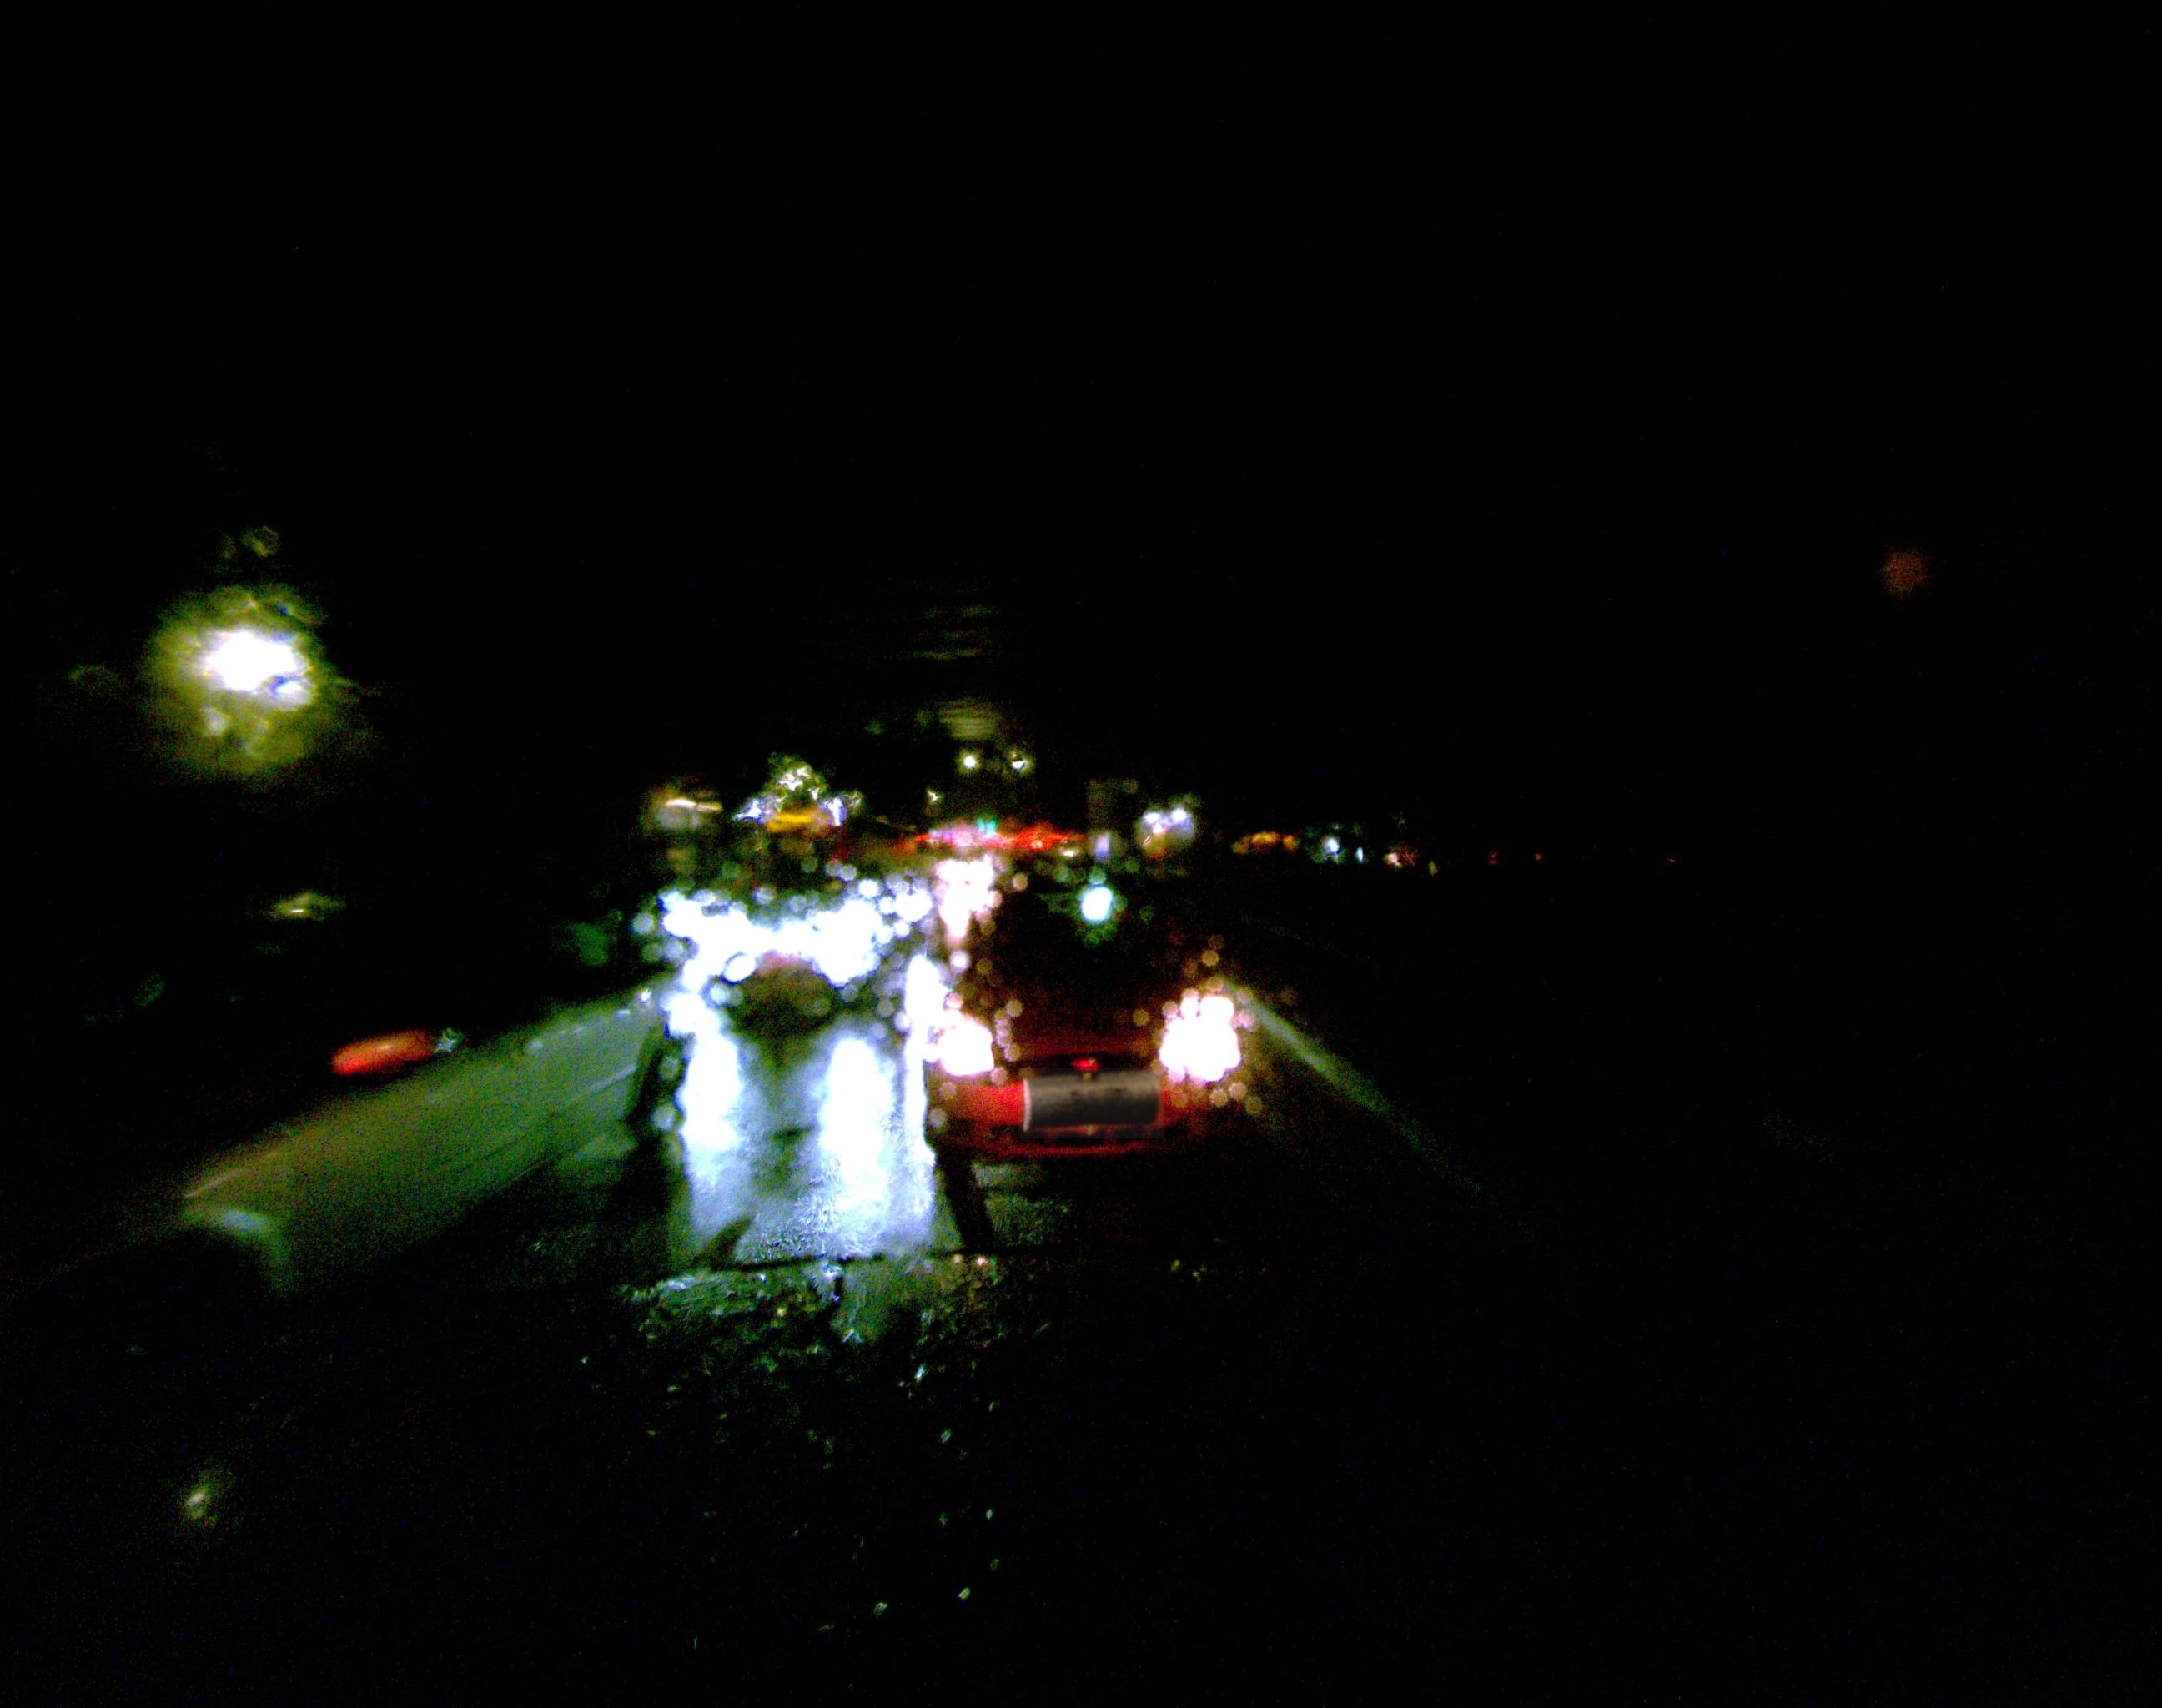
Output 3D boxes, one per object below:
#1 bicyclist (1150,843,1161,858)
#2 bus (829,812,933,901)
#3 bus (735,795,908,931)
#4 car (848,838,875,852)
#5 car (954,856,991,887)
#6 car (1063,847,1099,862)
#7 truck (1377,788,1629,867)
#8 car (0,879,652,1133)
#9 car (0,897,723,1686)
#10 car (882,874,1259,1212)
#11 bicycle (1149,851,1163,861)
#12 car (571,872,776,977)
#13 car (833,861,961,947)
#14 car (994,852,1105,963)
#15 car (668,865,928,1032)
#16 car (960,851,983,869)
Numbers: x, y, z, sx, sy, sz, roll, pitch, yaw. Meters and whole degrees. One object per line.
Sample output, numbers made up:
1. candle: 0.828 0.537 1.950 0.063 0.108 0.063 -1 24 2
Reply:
1. bicyclist: 6.857 -0.314 69.890 0.630 1.427 1.187 -1 1 -12
2. bus: -8.336 0.034 32.986 2.742 3.219 9.693 -2 1 -5
3. bus: -7.411 0.153 23.371 2.742 3.258 9.693 -2 1 -5
4. car: -23.729 -0.941 81.948 1.712 1.382 3.990 -2 1 -32
5. car: -5.622 0.862 39.639 1.725 1.478 4.159 0 1 -6
6. car: -0.056 0.024 73.912 2.044 1.478 4.490 0 1 -21
7. truck: 25.965 -1.591 47.412 13.671 4.416 2.743 -1 1 7
8. car: -6.437 1.093 7.479 1.724 1.478 4.786 -1 1 0
9. car: -3.156 1.034 2.763 1.724 1.438 4.161 -1 1 0
10. car: -0.065 0.939 5.535 1.755 1.438 3.973 0 1 0
11. bicycle: 6.875 0.209 69.827 0.629 0.899 2.211 -1 1 -12
12. car: -7.139 1.138 13.844 1.725 1.478 4.160 0 1 -4
13. car: -3.635 0.925 15.680 1.698 1.455 3.973 0 1 0
14. car: -0.558 0.840 13.841 1.724 1.695 3.972 0 1 -2
15. car: -3.317 1.001 9.871 1.724 1.478 4.161 -4 1 0
16. car: -9.311 0.508 64.720 1.725 1.478 4.159 0 1 -6
